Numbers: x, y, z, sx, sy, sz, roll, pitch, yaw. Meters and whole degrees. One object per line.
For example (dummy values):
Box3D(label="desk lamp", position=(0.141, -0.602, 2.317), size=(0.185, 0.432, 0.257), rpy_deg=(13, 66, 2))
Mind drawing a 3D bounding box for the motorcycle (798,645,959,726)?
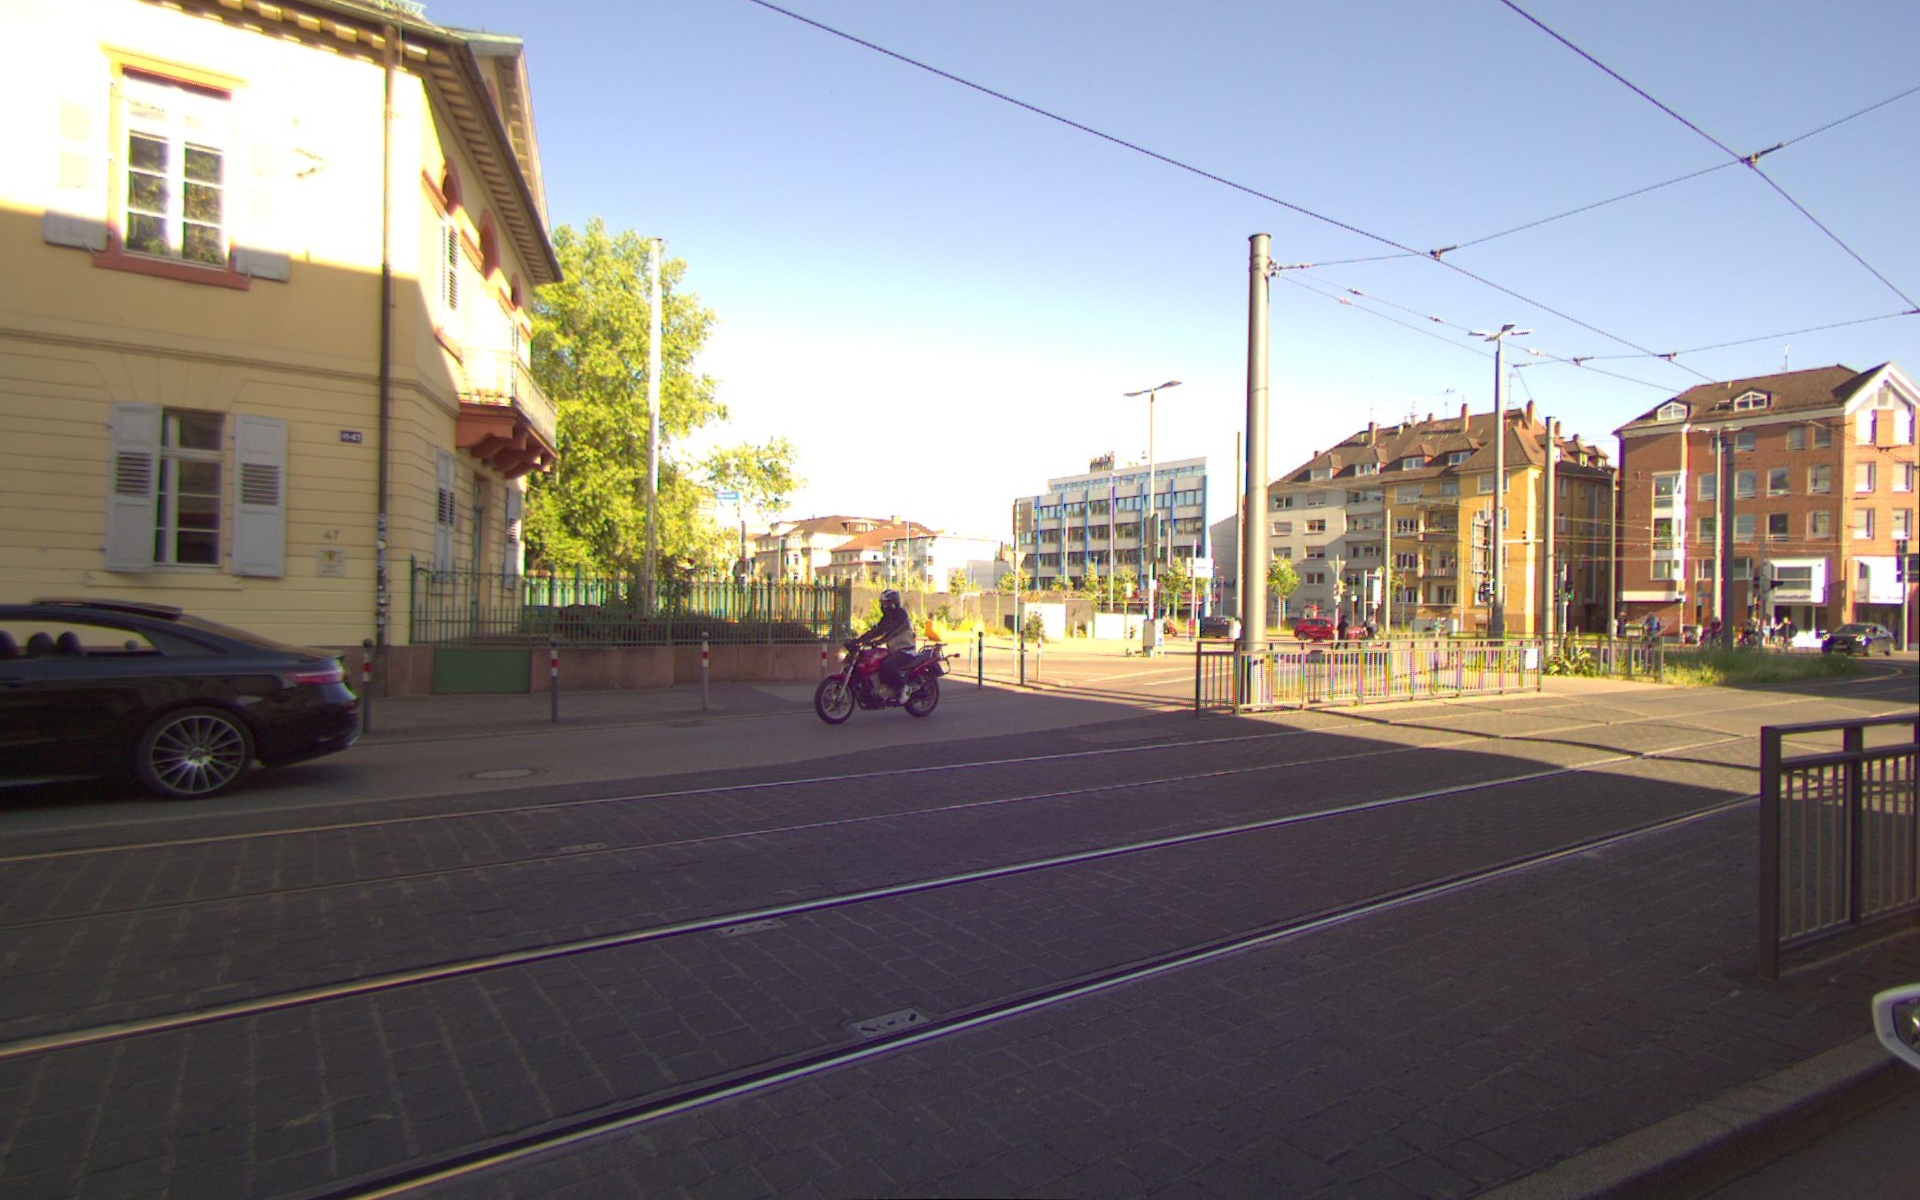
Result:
Box3D(label="motorcycle", position=(-1.022, 1.075, 13.084), size=(2.139, 0.939, 0.594), rpy_deg=(2, 0, -41))

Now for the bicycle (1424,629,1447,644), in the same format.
Box3D(label="bicycle", position=(27.449, 2.109, 58.007), size=(1.160, 0.774, 0.318), rpy_deg=(2, 0, 45))

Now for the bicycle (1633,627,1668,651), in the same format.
Box3D(label="bicycle", position=(31.237, 1.778, 45.441), size=(1.862, 1.027, 0.527), rpy_deg=(2, 0, -29))

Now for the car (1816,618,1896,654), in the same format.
Box3D(label="car", position=(42.529, 1.725, 47.669), size=(4.074, 1.581, 1.676), rpy_deg=(2, 0, -30))

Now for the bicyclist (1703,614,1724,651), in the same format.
Box3D(label="bicyclist", position=(35.404, 1.533, 47.202), size=(0.761, 1.695, 0.518), rpy_deg=(2, 0, -29))

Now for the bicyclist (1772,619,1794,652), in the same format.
Box3D(label="bicyclist", position=(42.929, 1.845, 52.407), size=(0.796, 1.671, 0.586), rpy_deg=(2, 0, -29))

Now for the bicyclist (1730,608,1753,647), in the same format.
Box3D(label="bicyclist", position=(34.323, 1.191, 44.103), size=(0.761, 1.695, 0.522), rpy_deg=(2, 0, -28))

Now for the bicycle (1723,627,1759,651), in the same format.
Box3D(label="bicycle", position=(34.310, 1.703, 44.105), size=(1.873, 1.027, 0.527), rpy_deg=(2, 0, -29))

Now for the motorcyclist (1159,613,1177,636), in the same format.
Box3D(label="motorcyclist", position=(14.448, 1.724, 69.729), size=(0.775, 1.544, 0.914), rpy_deg=(2, 0, -36))

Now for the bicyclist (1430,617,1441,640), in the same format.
Box3D(label="bicyclist", position=(27.456, 1.655, 58.034), size=(0.453, 1.333, 0.397), rpy_deg=(2, 0, 44))

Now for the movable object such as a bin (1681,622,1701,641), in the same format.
Box3D(label="movable object such as a bin", position=(56.709, 2.432, 77.967), size=(1.087, 1.456, 0.988), rpy_deg=(2, 0, -39))

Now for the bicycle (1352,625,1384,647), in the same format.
Box3D(label="bicycle", position=(22.198, 1.932, 54.661), size=(0.608, 1.148, 1.481), rpy_deg=(2, -1, -43))

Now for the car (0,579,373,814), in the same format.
Box3D(label="car", position=(-6.947, 0.638, 7.098), size=(4.630, 1.529, 1.762), rpy_deg=(1, -2, -39))

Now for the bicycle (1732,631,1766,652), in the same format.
Box3D(label="bicycle", position=(40.086, 2.117, 51.029), size=(1.862, 1.027, 0.647), rpy_deg=(2, 0, -29))

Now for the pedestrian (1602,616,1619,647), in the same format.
Box3D(label="pedestrian", position=(35.991, 1.740, 55.546), size=(0.700, 1.711, 0.619), rpy_deg=(-1, 2, -42))

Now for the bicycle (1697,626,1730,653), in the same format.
Box3D(label="bicycle", position=(35.437, 1.877, 47.232), size=(1.862, 1.230, 0.527), rpy_deg=(2, 0, -29))

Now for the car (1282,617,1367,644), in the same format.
Box3D(label="car", position=(21.718, 1.805, 60.022), size=(1.768, 1.529, 4.513), rpy_deg=(1, -2, -39))

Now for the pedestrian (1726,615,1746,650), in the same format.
Box3D(label="pedestrian", position=(45.484, 1.907, 58.885), size=(0.819, 2.040, 0.592), rpy_deg=(2, 0, -27))

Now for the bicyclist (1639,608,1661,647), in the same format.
Box3D(label="bicyclist", position=(31.196, 1.241, 45.407), size=(0.761, 1.695, 0.518), rpy_deg=(2, 0, -28))

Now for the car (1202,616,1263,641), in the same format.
Box3D(label="car", position=(17.676, 1.819, 65.267), size=(1.560, 1.491, 3.674), rpy_deg=(2, 0, -36))

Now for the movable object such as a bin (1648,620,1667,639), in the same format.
Box3D(label="movable object such as a bin", position=(55.467, 2.353, 79.879), size=(1.087, 1.456, 0.988), rpy_deg=(2, 0, -39))

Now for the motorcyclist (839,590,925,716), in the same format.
Box3D(label="motorcyclist", position=(-1.011, 0.670, 13.080), size=(0.877, 1.579, 0.646), rpy_deg=(2, 0, -41))

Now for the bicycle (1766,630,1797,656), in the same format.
Box3D(label="bicycle", position=(42.813, 2.238, 52.348), size=(2.002, 1.308, 0.571), rpy_deg=(2, 0, -29))

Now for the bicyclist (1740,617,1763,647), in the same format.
Box3D(label="bicyclist", position=(40.275, 1.626, 51.135), size=(0.721, 1.473, 0.661), rpy_deg=(2, 0, -29))

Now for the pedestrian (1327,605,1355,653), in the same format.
Box3D(label="pedestrian", position=(15.717, 1.183, 41.422), size=(0.784, 1.959, 0.724), rpy_deg=(2, 0, -9))

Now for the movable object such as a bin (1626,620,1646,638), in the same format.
Box3D(label="movable object such as a bin", position=(54.545, 2.335, 81.036), size=(1.087, 1.456, 0.988), rpy_deg=(2, 0, -39))

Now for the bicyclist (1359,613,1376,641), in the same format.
Box3D(label="bicyclist", position=(22.192, 1.484, 54.666), size=(0.605, 1.513, 0.608), rpy_deg=(2, 0, -44))

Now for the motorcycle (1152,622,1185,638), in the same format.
Box3D(label="motorcycle", position=(14.453, 2.080, 69.719), size=(0.784, 0.997, 2.342), rpy_deg=(2, 0, -36))
